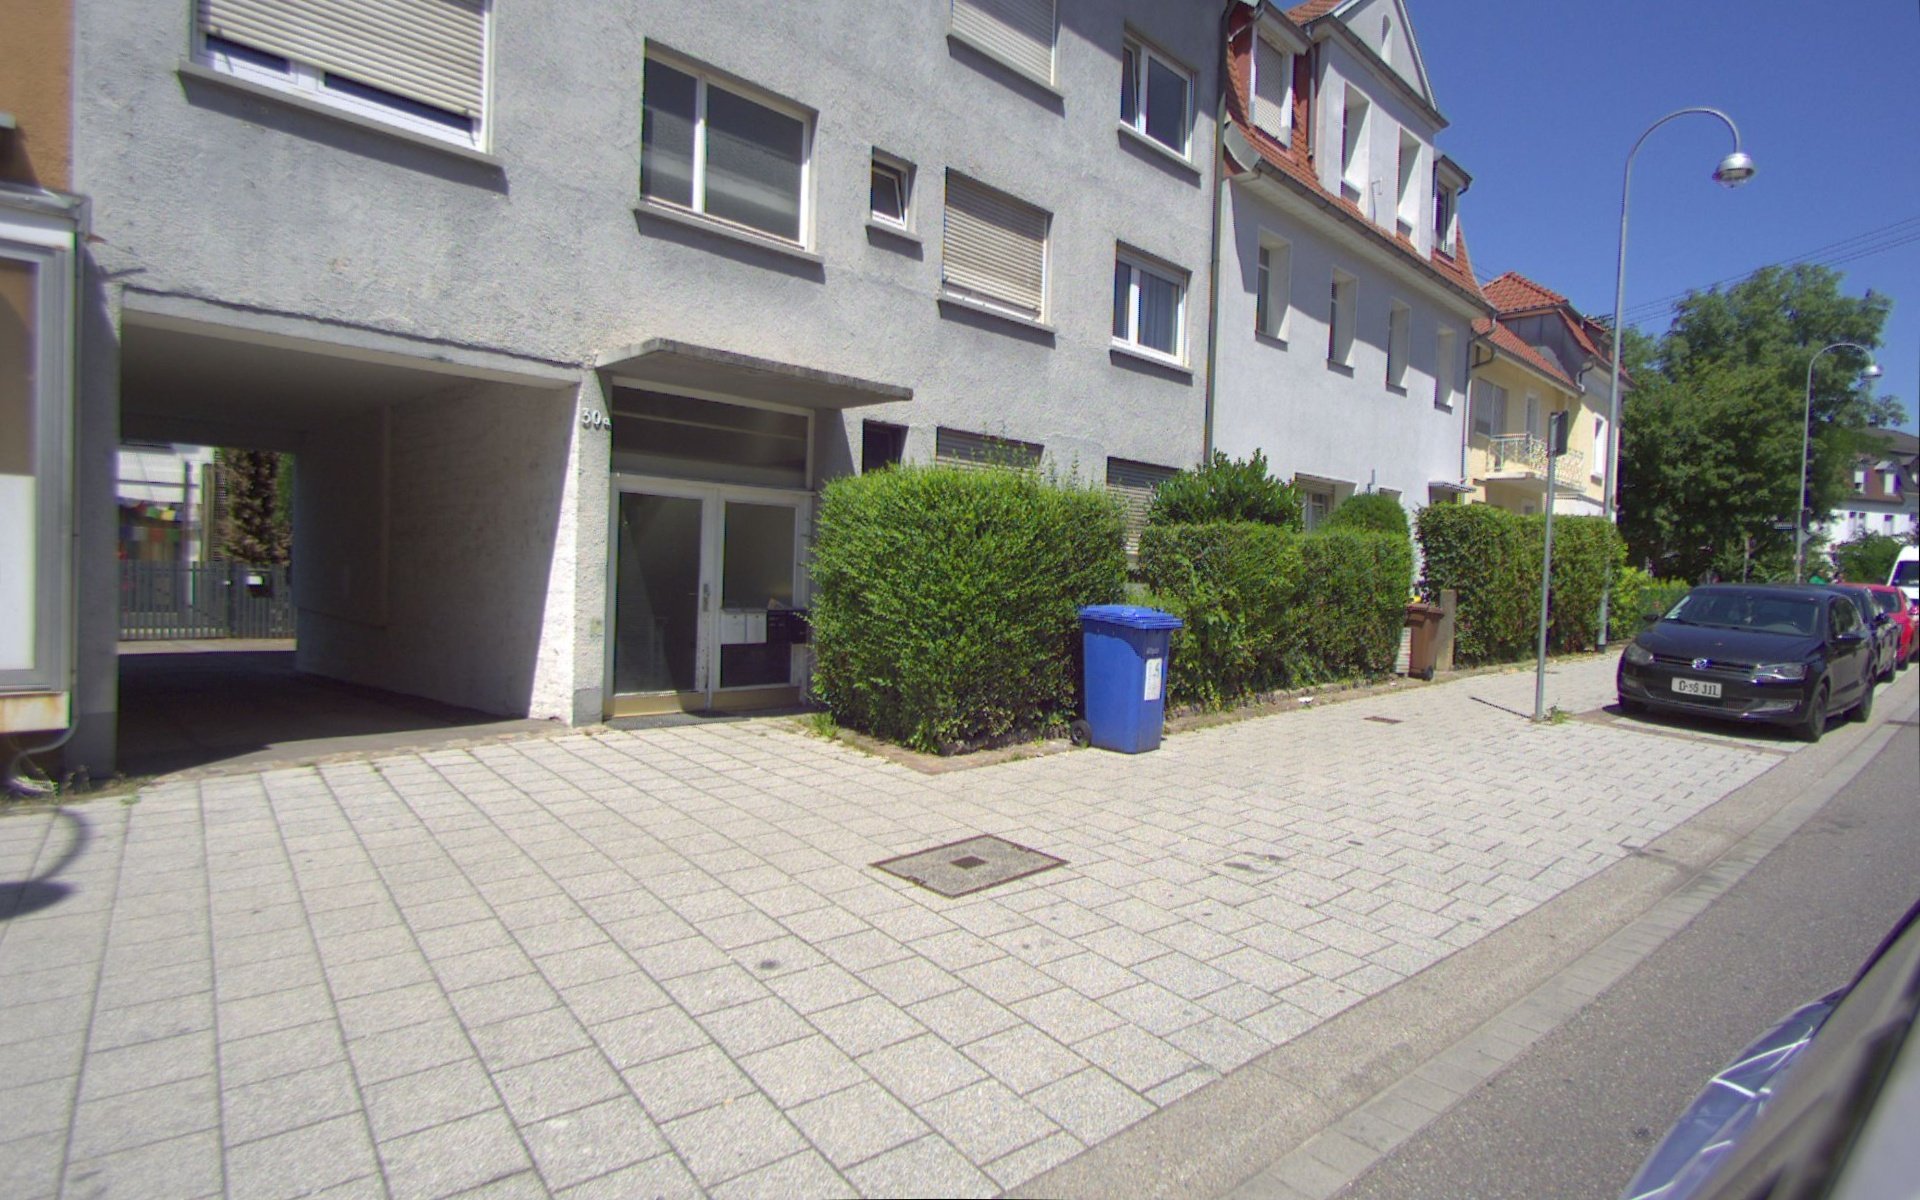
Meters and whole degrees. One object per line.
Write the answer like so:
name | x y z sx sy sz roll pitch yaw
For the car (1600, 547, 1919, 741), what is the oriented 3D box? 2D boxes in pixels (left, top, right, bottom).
car | 8.667 0.366 10.869 3.927 1.652 1.734 0 4 -38

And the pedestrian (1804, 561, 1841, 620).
pedestrian | 25.904 -0.300 30.413 0.517 1.726 0.797 6 4 27

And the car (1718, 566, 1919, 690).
car | 13.253 0.330 15.430 4.640 1.492 1.807 0 6 -43

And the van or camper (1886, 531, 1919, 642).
van or camper | 24.175 -0.320 24.390 6.073 2.496 2.112 -2 5 -43

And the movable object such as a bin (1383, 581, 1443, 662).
movable object such as a bin | 6.346 0.288 14.186 0.660 1.098 0.500 0 2 -41

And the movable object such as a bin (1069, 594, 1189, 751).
movable object such as a bin | 1.277 0.516 7.658 0.636 1.090 0.594 0 3 -42

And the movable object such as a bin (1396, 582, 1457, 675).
movable object such as a bin | 5.843 0.346 12.673 0.546 1.117 0.488 0 2 -42

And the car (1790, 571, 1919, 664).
car | 17.421 0.268 19.353 4.080 1.548 1.806 0 3 -43
